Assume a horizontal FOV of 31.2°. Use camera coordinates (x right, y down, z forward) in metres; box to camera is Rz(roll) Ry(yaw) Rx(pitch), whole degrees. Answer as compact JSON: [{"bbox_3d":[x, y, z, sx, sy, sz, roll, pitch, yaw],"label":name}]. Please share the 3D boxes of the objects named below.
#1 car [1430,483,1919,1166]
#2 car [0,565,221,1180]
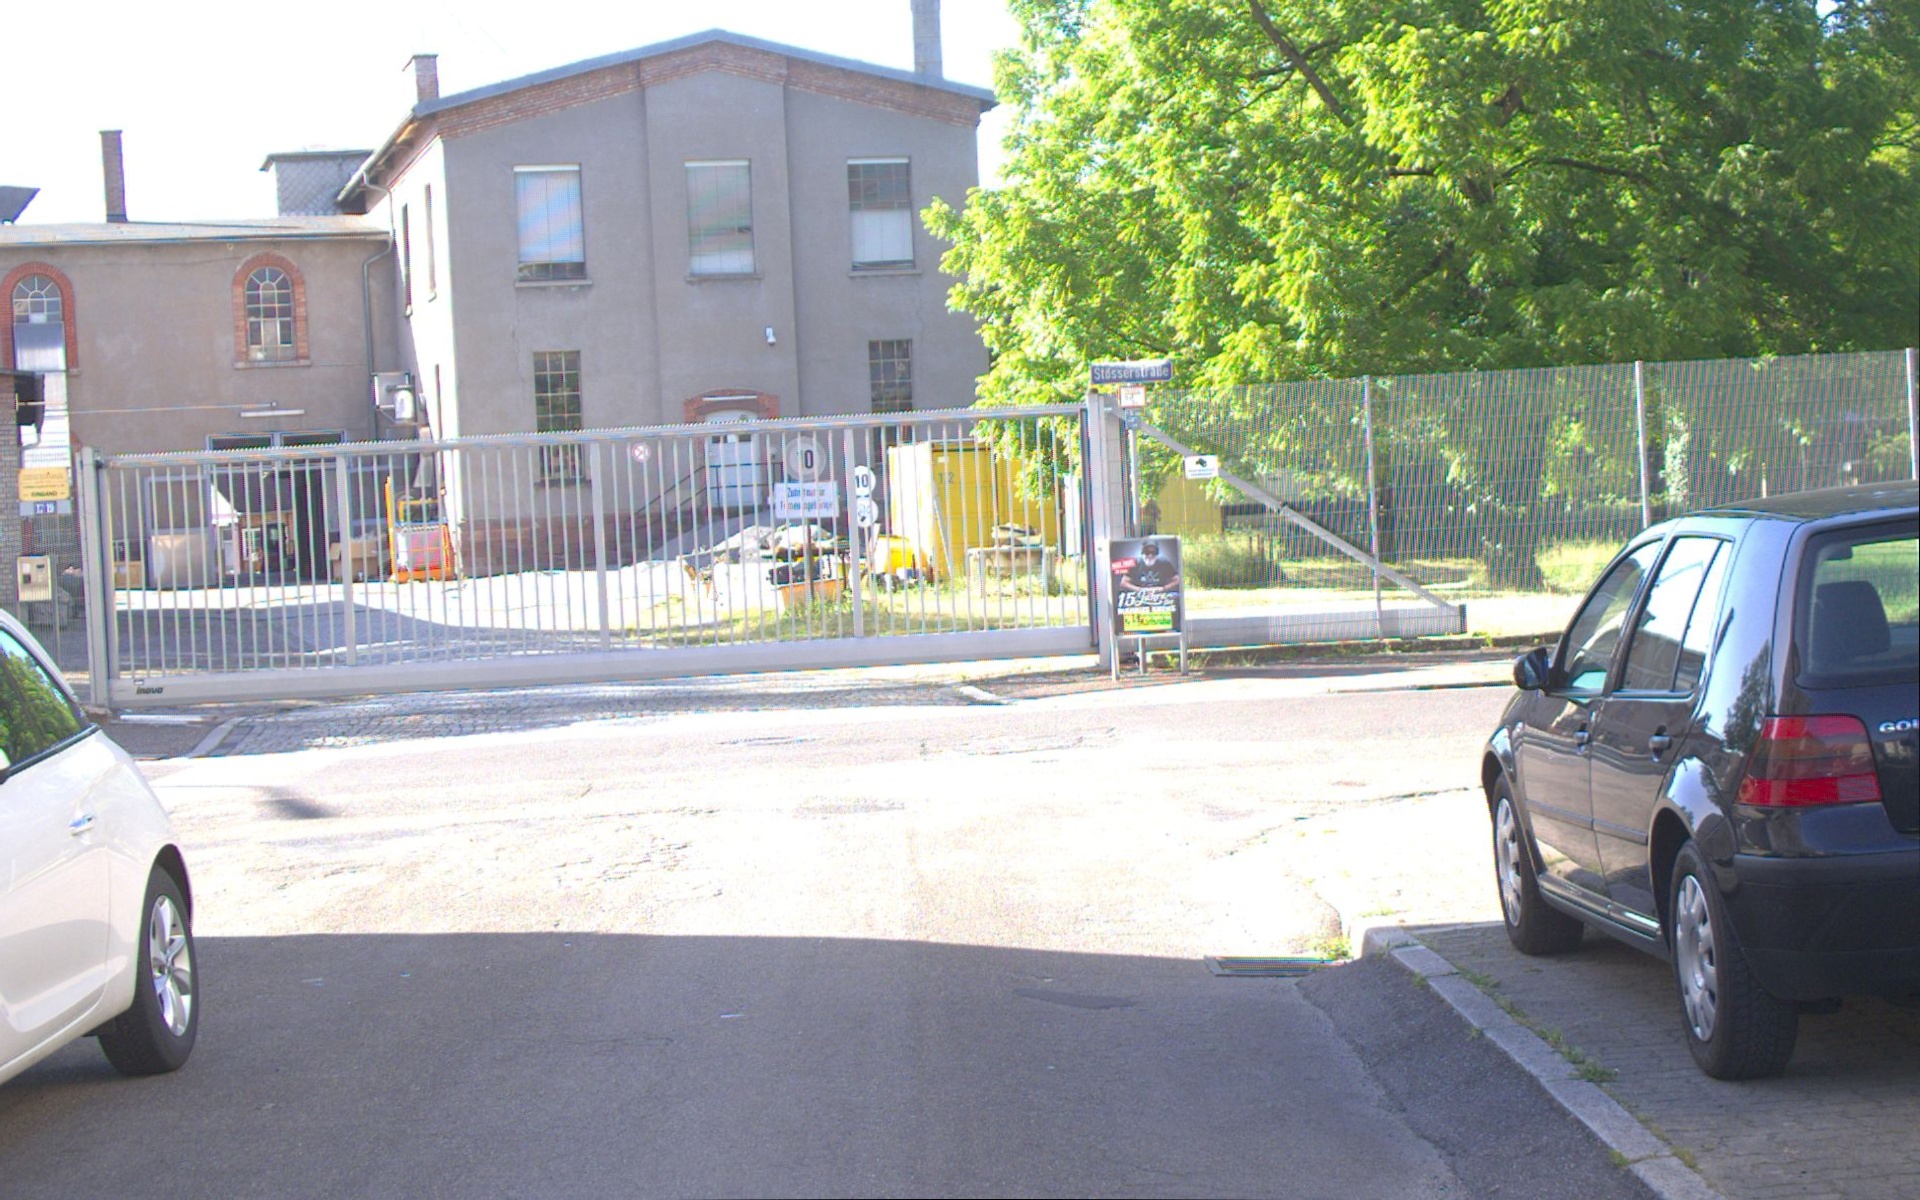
[{"bbox_3d":[2.582,0.423,9.643,1.797,1.410,4.049,-5,1,-1],"label":"car"},{"bbox_3d":[-3.207,0.727,8.785,1.687,1.454,3.721,-4,1,1],"label":"car"}]
